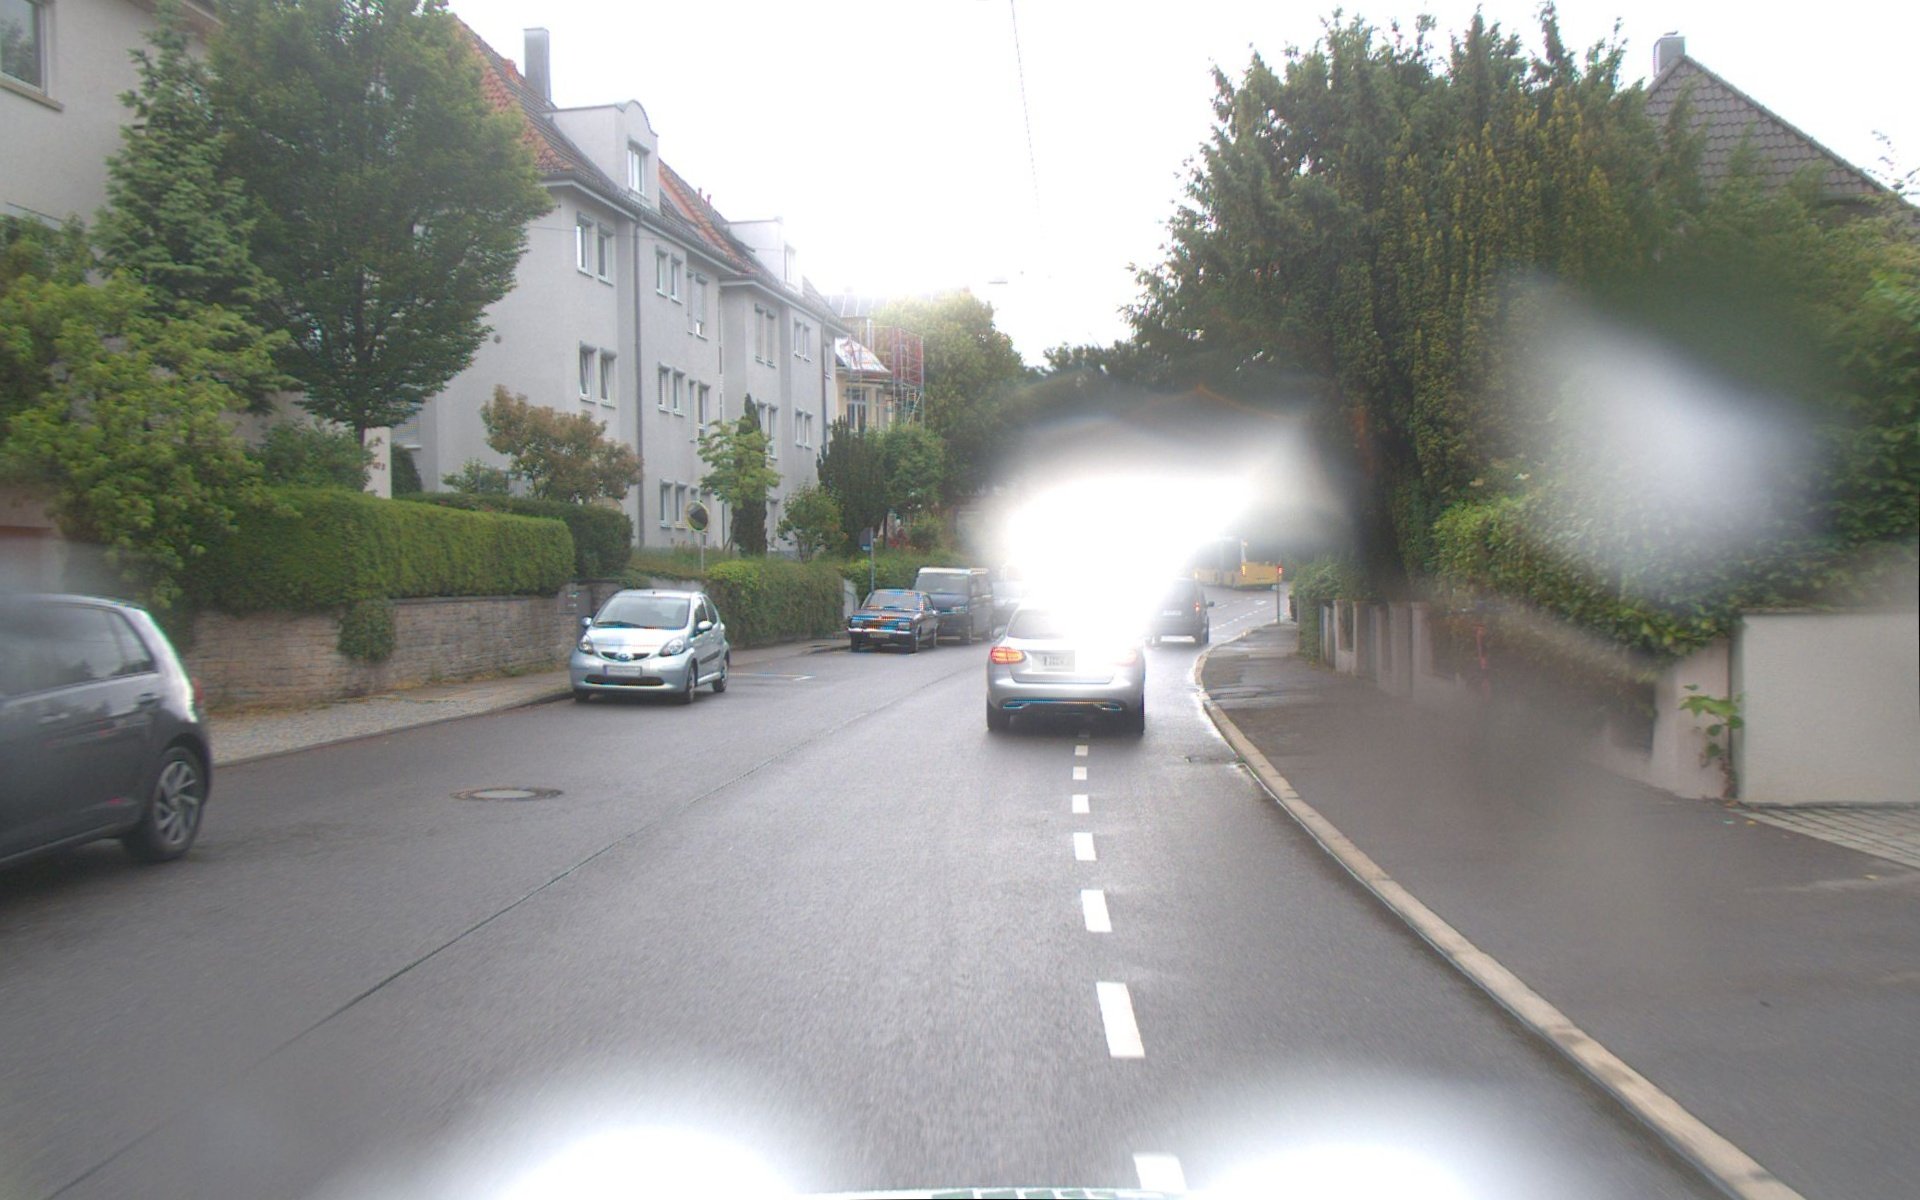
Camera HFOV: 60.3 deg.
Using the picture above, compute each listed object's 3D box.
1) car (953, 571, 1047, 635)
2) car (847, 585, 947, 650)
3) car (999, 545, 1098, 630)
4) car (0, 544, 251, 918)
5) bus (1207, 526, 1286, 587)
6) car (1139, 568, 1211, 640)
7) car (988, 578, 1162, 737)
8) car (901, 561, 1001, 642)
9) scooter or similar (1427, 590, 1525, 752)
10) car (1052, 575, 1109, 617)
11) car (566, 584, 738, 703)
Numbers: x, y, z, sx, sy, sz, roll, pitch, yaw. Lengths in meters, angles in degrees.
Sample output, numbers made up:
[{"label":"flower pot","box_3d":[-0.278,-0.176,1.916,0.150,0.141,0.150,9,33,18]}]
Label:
[{"label":"car","box_3d":[1.306,0.051,51.943,1.951,1.717,4.681,1,3,14]},{"label":"car","box_3d":[-1.480,0.381,40.576,1.608,1.442,4.617,1,1,8]},{"label":"car","box_3d":[3.251,-0.551,59.484,2.340,2.820,6.538,1,2,14]},{"label":"car","box_3d":[-5.023,0.541,7.452,1.755,1.608,4.139,2,1,1]},{"label":"bus","box_3d":[18.519,-2.903,107.598,2.870,3.714,10.165,0,3,-3]},{"label":"car","box_3d":[6.130,0.090,46.789,1.803,1.937,4.004,1,0,10]},{"label":"car","box_3d":[1.356,0.570,19.128,1.778,1.583,4.003,1,1,5]},{"label":"car","box_3d":[-0.176,0.024,45.782,1.790,2.092,5.014,1,0,11]},{"label":"scooter or similar","box_3d":[4.471,0.583,14.411,0.440,1.330,1.482,-2,0,4]},{"label":"car","box_3d":[4.750,-0.187,64.979,1.676,1.472,3.258,1,3,14]},{"label":"car","box_3d":[-4.179,0.542,22.897,1.571,1.512,3.488,0,0,3]}]
